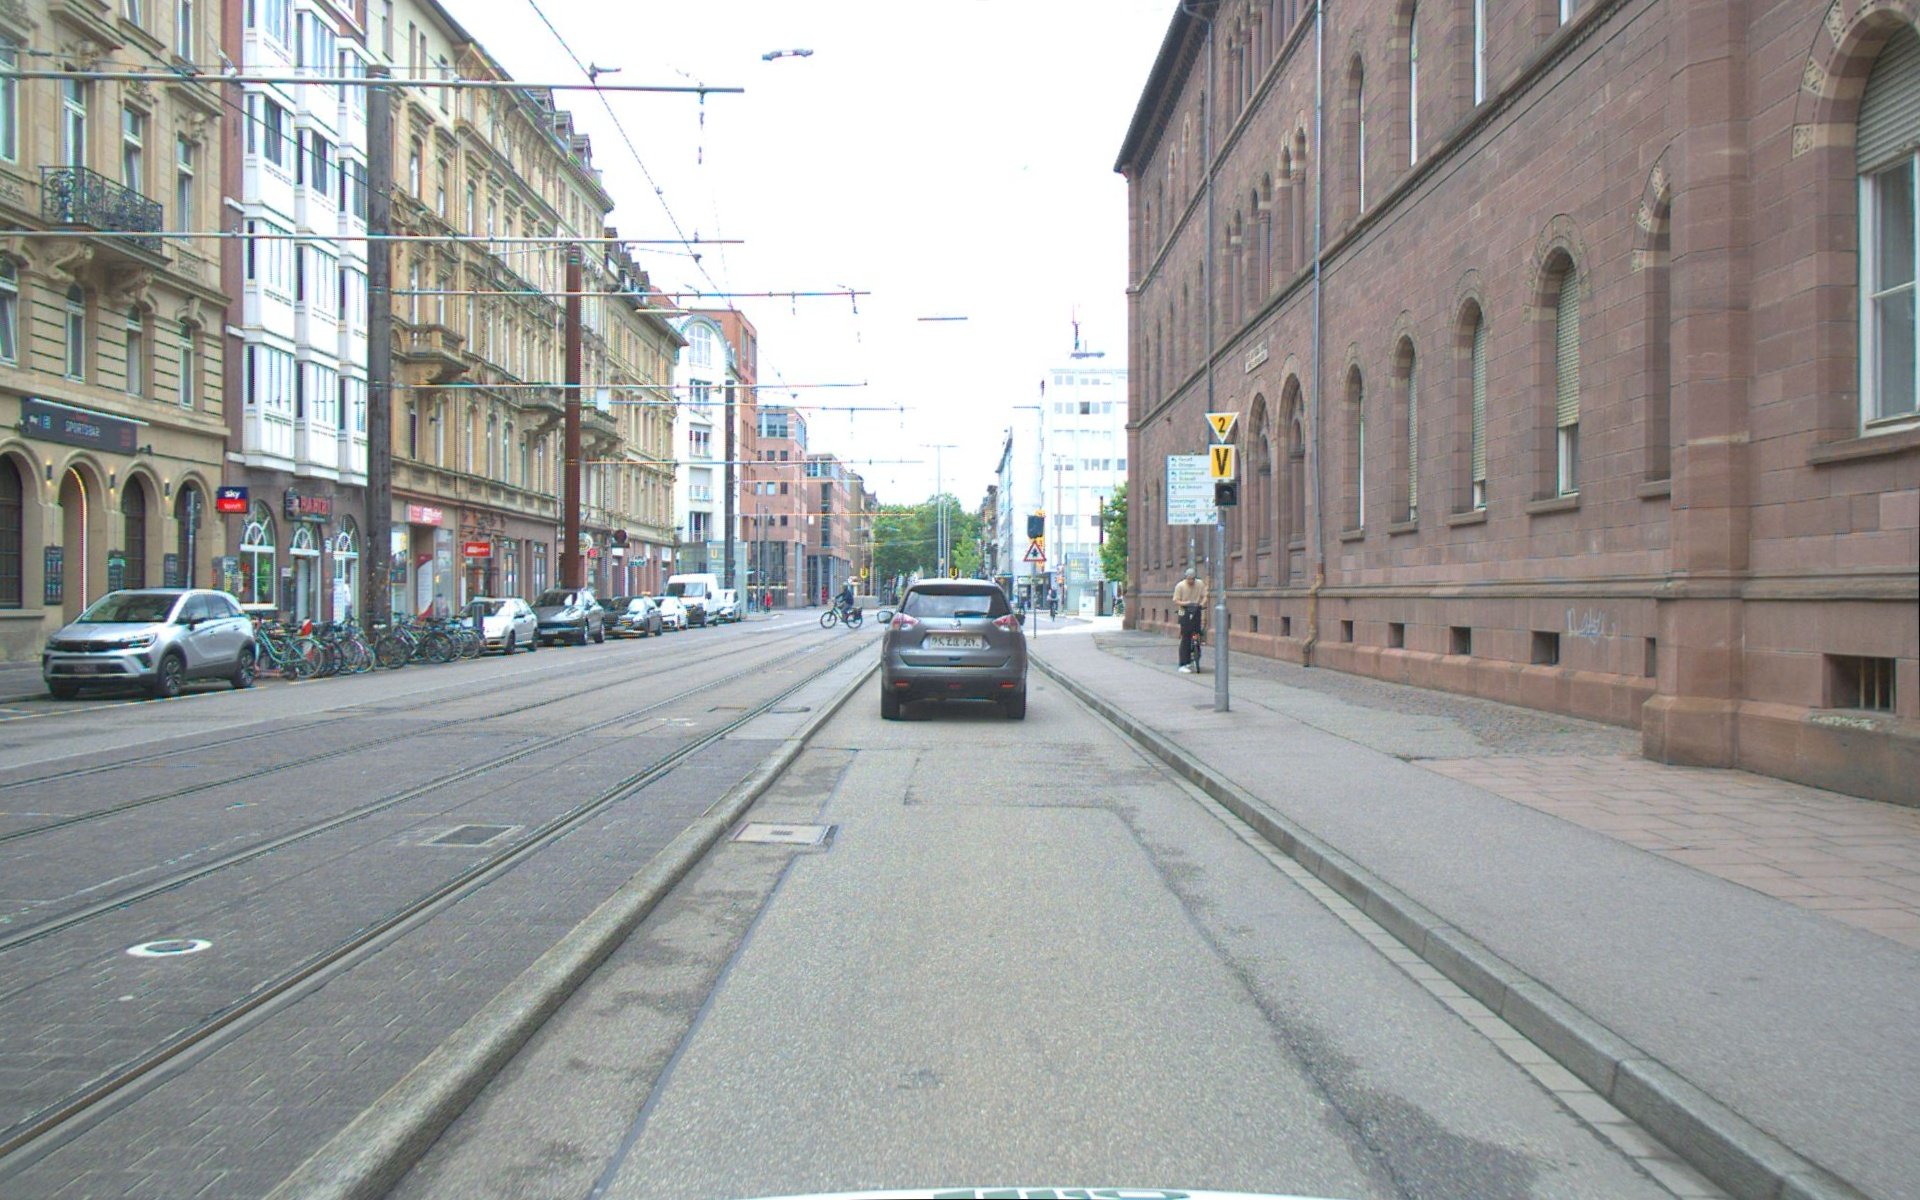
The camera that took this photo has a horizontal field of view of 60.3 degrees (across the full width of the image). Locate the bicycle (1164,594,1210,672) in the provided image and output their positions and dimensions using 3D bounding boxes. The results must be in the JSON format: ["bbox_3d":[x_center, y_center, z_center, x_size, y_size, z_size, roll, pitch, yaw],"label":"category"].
[{"bbox_3d":[4.000,0.567,29.248,0.436,1.298,2.226,-2,0,-1],"label":"bicycle"}]

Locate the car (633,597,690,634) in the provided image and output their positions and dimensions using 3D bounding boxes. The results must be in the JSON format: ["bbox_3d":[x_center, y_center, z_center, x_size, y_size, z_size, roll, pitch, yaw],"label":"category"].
[{"bbox_3d":[-12.614,0.637,70.161,1.735,1.447,4.163,-2,0,-2],"label":"car"}]

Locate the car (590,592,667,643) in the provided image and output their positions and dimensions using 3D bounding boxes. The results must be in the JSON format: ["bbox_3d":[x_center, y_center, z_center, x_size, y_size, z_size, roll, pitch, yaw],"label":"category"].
[{"bbox_3d":[-12.053,0.612,60.373,1.881,1.719,5.050,-2,0,-2],"label":"car"}]

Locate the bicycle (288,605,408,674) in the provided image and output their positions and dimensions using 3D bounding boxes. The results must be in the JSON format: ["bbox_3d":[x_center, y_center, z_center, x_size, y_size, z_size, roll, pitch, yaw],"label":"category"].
[{"bbox_3d":[-12.512,0.799,33.854,2.235,1.317,0.448,2,0,0],"label":"bicycle"}]

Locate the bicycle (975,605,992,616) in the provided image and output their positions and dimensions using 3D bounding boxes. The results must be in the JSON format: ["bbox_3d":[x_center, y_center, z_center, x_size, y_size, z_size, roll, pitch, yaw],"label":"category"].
[{"bbox_3d":[2.437,1.081,172.730,1.664,1.084,0.436,1,-1,-9],"label":"bicycle"}]

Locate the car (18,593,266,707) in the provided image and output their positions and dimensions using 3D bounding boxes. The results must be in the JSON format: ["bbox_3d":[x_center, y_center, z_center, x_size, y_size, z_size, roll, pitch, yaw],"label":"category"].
[{"bbox_3d":[-12.295,0.691,25.182,1.708,1.560,4.224,-1,0,-1],"label":"car"}]

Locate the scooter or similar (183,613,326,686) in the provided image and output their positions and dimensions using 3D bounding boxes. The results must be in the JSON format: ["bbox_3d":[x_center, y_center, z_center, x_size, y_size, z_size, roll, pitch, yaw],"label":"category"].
[{"bbox_3d":[-12.405,0.872,29.111,2.235,1.224,0.547,1,0,0],"label":"scooter or similar"}]

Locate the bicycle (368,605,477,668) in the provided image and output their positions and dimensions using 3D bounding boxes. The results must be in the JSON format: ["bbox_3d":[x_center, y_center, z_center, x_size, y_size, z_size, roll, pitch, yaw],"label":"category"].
[{"bbox_3d":[-12.380,0.831,38.125,2.235,1.352,0.666,-2,0,0],"label":"bicycle"}]

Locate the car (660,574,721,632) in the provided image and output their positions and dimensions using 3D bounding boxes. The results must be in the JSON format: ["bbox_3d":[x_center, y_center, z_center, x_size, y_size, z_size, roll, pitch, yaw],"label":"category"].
[{"bbox_3d":[-12.669,0.153,78.116,2.011,2.530,5.664,-2,0,-2],"label":"car"}]

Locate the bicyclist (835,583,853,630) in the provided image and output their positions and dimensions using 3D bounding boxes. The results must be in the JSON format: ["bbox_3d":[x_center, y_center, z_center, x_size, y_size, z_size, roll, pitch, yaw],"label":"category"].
[{"bbox_3d":[-4.831,0.259,68.849,0.632,1.916,1.028,1,-1,1],"label":"bicyclist"}]

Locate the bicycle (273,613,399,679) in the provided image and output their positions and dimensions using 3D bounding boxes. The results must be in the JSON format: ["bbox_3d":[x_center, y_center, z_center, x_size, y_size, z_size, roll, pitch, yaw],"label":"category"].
[{"bbox_3d":[-12.514,0.916,33.218,2.235,1.224,0.666,-2,0,0],"label":"bicycle"}]

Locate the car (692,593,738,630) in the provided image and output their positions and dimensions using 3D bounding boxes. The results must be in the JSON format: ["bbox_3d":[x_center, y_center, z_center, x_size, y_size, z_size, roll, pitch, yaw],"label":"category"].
[{"bbox_3d":[-13.088,0.606,88.487,1.864,1.897,4.518,-2,0,-2],"label":"car"}]

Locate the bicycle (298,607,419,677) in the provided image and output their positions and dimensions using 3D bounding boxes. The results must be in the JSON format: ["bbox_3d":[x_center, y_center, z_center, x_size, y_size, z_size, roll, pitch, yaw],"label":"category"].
[{"bbox_3d":[-12.530,0.870,34.471,2.235,1.352,0.666,-2,0,0],"label":"bicycle"}]

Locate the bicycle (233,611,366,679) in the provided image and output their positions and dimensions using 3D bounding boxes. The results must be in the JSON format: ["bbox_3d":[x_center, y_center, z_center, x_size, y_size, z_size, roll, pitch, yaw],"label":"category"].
[{"bbox_3d":[-12.404,0.850,31.072,2.235,1.224,0.540,1,-2,0],"label":"bicycle"}]

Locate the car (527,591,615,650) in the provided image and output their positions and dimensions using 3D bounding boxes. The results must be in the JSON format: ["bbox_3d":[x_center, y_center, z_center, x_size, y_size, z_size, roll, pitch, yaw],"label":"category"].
[{"bbox_3d":[-12.067,0.611,51.613,1.777,1.719,5.028,-1,0,-3],"label":"car"}]

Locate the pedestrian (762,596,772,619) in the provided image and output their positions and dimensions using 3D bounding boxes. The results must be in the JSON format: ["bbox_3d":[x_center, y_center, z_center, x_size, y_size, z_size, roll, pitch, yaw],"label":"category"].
[{"bbox_3d":[-14.529,0.586,124.275,0.707,1.717,0.660,0,-2,-11],"label":"pedestrian"}]

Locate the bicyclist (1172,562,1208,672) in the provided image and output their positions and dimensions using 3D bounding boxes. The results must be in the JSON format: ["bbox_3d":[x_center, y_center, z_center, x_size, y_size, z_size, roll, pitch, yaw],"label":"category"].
[{"bbox_3d":[4.012,0.291,28.877,0.518,1.891,0.450,-1,-1,-1],"label":"bicyclist"}]

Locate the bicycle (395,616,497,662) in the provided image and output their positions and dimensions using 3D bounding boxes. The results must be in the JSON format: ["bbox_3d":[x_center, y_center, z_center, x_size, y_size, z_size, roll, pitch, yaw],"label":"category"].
[{"bbox_3d":[-12.266,0.931,39.476,2.235,1.059,0.619,0,0,0],"label":"bicycle"}]

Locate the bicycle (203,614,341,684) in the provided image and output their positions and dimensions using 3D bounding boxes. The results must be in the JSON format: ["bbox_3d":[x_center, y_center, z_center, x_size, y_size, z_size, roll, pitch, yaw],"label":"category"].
[{"bbox_3d":[-12.357,0.875,29.747,2.235,1.224,0.547,0,0,0],"label":"bicycle"}]

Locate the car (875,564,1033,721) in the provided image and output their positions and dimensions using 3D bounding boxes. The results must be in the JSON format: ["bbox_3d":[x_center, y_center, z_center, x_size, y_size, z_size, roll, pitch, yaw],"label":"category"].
[{"bbox_3d":[-0.095,0.480,21.670,1.825,1.806,4.566,1,0,-1],"label":"car"}]

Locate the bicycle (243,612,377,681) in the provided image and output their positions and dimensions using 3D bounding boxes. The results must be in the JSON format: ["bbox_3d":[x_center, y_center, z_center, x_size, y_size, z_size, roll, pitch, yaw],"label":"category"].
[{"bbox_3d":[-12.457,0.885,31.729,2.235,1.224,0.705,-2,0,0],"label":"bicycle"}]

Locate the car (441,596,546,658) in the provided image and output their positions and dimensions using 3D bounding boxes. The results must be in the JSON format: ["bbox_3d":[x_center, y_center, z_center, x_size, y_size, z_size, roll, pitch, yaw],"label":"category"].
[{"bbox_3d":[-12.193,0.666,43.463,1.708,1.514,3.919,-1,0,-1],"label":"car"}]

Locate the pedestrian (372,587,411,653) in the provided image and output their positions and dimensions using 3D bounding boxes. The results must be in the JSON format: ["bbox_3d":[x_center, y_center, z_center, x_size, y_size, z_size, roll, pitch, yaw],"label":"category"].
[{"bbox_3d":[-15.804,0.559,45.958,0.642,1.813,0.782,1,-1,36],"label":"pedestrian"}]

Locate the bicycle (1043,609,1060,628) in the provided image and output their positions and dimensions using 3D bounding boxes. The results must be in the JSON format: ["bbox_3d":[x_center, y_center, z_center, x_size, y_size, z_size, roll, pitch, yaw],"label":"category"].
[{"bbox_3d":[5.237,1.077,95.045,0.883,1.063,3.278,0,0,2],"label":"bicycle"}]

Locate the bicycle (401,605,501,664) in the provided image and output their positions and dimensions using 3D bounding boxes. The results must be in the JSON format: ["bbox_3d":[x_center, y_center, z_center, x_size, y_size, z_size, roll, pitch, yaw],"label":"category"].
[{"bbox_3d":[-12.313,0.827,40.035,2.235,1.352,0.521,-2,0,0],"label":"bicycle"}]

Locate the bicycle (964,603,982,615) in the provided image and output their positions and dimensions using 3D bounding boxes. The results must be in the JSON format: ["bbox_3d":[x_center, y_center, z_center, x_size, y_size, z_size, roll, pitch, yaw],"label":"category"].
[{"bbox_3d":[1.386,0.949,173.098,1.833,1.192,0.530,1,-1,-10],"label":"bicycle"}]

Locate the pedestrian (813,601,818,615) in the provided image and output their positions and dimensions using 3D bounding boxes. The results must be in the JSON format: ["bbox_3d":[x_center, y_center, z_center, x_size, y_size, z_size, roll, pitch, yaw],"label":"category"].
[{"bbox_3d":[-16.293,0.886,186.678,0.442,1.559,0.519,1,-1,-18],"label":"pedestrian"}]

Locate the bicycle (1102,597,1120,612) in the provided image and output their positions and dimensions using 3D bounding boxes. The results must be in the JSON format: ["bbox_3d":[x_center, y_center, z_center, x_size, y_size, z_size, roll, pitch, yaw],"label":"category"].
[{"bbox_3d":[10.281,0.299,112.470,0.645,0.995,1.752,-1,0,28],"label":"bicycle"}]

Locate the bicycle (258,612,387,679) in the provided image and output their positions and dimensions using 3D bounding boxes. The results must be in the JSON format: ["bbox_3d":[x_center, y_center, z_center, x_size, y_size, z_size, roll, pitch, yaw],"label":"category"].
[{"bbox_3d":[-12.507,0.894,32.504,2.235,1.224,0.666,-2,0,0],"label":"bicycle"}]

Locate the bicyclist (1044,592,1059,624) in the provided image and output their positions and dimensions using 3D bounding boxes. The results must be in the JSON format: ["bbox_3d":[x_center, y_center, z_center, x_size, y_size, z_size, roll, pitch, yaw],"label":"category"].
[{"bbox_3d":[5.245,0.447,94.987,0.817,1.844,0.878,1,-1,2],"label":"bicyclist"}]

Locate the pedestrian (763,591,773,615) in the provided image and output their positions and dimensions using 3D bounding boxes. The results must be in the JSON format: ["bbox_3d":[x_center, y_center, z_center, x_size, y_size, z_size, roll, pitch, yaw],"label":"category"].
[{"bbox_3d":[-13.932,0.195,119.986,0.648,1.717,0.720,0,-2,-13],"label":"pedestrian"}]

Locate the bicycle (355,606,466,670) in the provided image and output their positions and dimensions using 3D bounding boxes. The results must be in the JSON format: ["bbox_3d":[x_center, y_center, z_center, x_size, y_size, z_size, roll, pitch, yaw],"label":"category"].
[{"bbox_3d":[-12.384,0.848,37.296,2.235,1.352,0.666,-2,0,0],"label":"bicycle"}]

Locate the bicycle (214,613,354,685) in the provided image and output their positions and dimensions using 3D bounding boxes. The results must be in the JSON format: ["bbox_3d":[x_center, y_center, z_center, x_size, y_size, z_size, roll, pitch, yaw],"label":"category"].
[{"bbox_3d":[-12.424,0.891,30.432,2.235,1.224,0.705,-2,0,0],"label":"bicycle"}]

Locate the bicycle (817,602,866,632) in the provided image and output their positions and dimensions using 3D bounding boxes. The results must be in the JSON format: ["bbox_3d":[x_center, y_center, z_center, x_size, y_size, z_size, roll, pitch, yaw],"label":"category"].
[{"bbox_3d":[-4.933,0.694,68.818,2.001,1.194,0.585,-2,-1,-10],"label":"bicycle"}]

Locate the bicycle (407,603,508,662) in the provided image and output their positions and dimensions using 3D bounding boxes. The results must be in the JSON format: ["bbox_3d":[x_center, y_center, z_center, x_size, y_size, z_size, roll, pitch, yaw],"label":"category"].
[{"bbox_3d":[-12.365,0.798,40.757,2.235,1.352,0.666,-2,0,0],"label":"bicycle"}]
